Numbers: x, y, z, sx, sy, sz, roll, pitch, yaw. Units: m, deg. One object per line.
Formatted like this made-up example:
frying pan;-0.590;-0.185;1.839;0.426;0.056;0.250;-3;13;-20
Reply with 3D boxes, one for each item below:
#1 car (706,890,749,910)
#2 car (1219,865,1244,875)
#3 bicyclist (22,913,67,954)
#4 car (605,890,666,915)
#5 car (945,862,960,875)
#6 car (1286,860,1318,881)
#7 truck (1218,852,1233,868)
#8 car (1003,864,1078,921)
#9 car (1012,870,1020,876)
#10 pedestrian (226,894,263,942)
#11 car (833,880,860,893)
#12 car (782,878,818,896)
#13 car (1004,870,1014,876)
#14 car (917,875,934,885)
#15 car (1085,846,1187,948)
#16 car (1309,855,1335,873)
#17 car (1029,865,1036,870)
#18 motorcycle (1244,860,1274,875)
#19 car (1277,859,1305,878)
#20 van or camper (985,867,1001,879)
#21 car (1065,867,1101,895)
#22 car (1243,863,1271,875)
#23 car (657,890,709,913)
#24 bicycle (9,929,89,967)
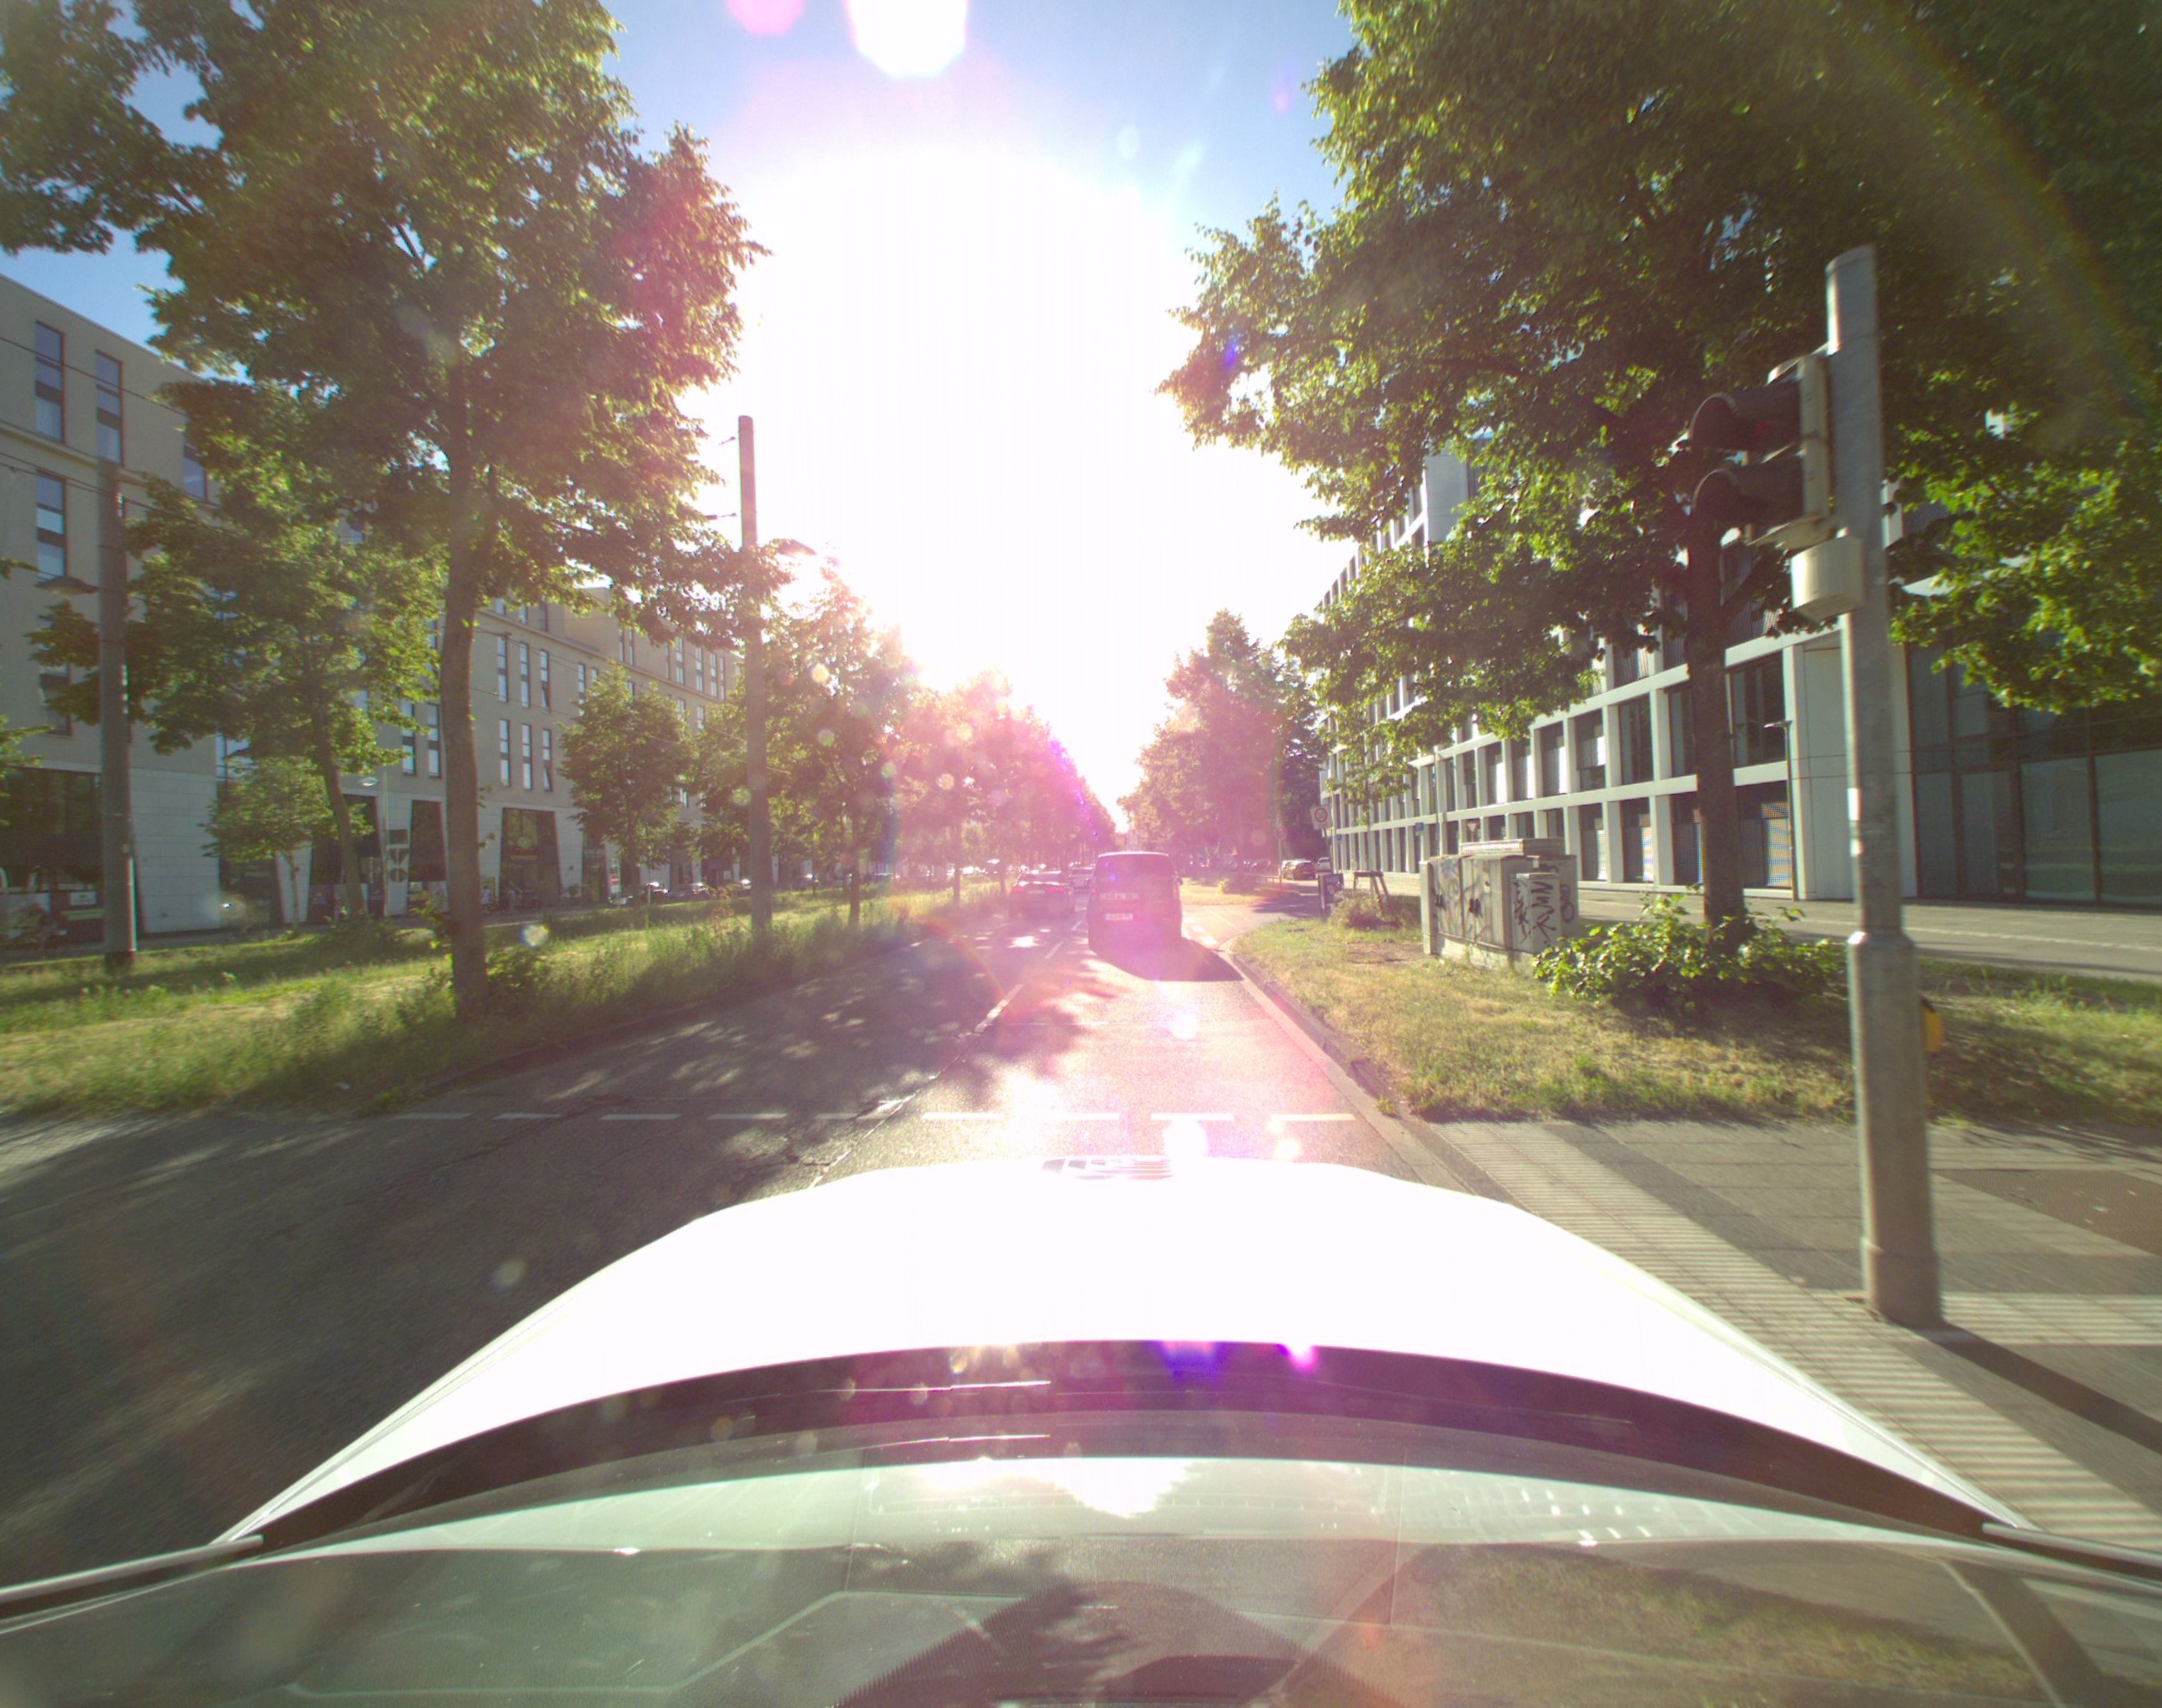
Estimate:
car;-27.611;3.556;63.691;1.573;1.342;3.715;-2;-1;3
car;21.254;2.236;115.283;3.377;1.359;1.475;-2;-1;10
bicyclist;-34.820;2.661;27.366;0.575;1.293;0.706;-1;-2;4
car;-27.761;2.989;50.825;1.573;1.342;3.715;-2;-1;3
car;-21.751;2.476;138.109;1.722;2.014;4.001;-2;-1;2
car;17.516;1.310;64.731;1.749;1.611;3.908;-2;-1;5
truck;24.015;1.022;135.494;1.824;2.501;5.937;-2;-1;3
car;-1.142;1.113;24.924;1.800;1.527;4.116;-2;-1;3
car;-17.443;5.016;218.653;1.595;1.556;4.003;-2;-1;3
pedestrian;-32.379;2.463;31.524;0.577;1.812;0.800;-1;-2;0
car;-25.598;3.532;88.948;1.573;1.342;3.715;-2;-1;3
car;-26.227;3.090;76.102;1.768;1.528;3.809;-2;-1;3
car;-18.151;4.760;205.659;1.748;1.574;4.003;-2;-1;3
car;-23.266;3.914;122.098;1.573;1.342;3.715;-2;-1;3
car;1.038;0.797;16.637;1.801;1.794;4.113;-1;-1;1
car;26.089;1.100;88.357;1.984;1.816;4.005;-1;-1;5
car;-14.190;3.966;238.949;1.748;1.574;4.003;-2;-1;3
motorcycle;21.020;1.566;96.354;3.377;1.663;1.475;-2;-1;10
car;17.986;1.276;69.856;1.809;1.532;3.444;-2;-1;7
van or camper;-13.686;2.899;126.939;1.813;1.738;3.715;-2;-1;3
car;0.149;1.494;46.567;1.800;1.435;4.116;-2;-1;3
car;22.326;1.868;103.429;3.377;1.359;1.475;-2;-1;10
car;-27.607;3.272;56.539;1.573;1.342;3.715;-2;-1;3
bicycle;-34.768;3.161;27.472;0.526;1.111;1.639;-1;-1;4
